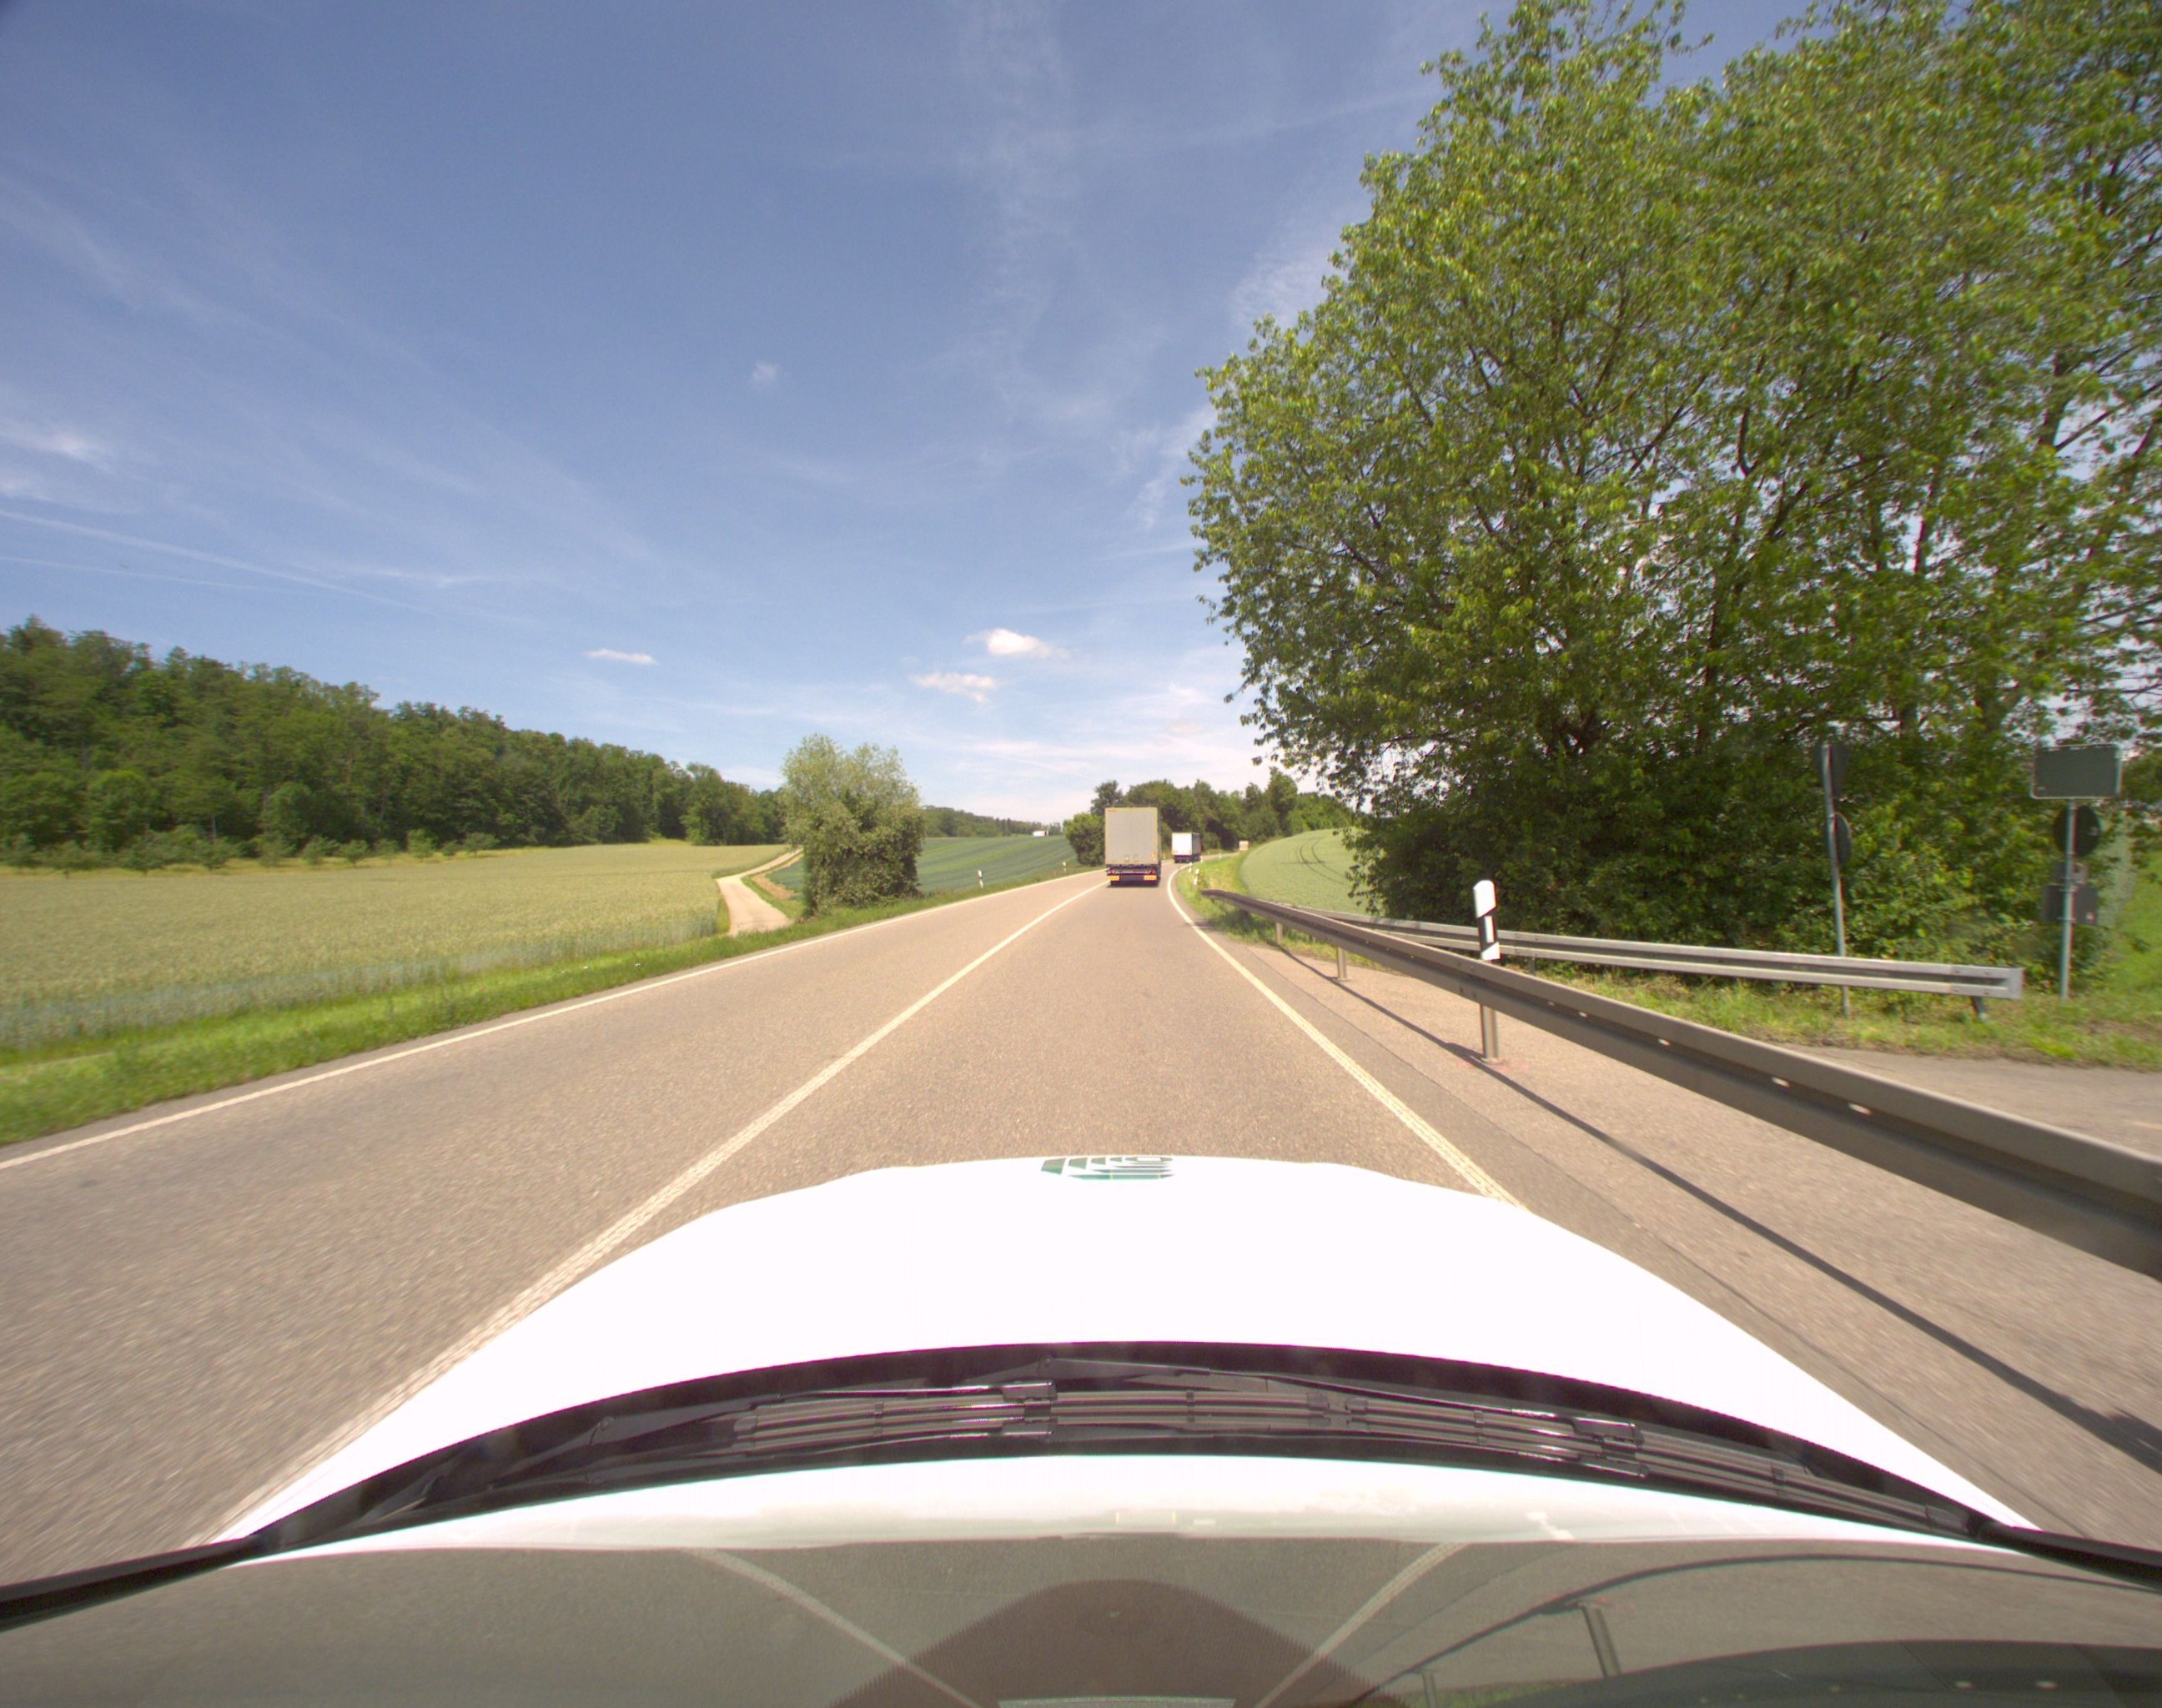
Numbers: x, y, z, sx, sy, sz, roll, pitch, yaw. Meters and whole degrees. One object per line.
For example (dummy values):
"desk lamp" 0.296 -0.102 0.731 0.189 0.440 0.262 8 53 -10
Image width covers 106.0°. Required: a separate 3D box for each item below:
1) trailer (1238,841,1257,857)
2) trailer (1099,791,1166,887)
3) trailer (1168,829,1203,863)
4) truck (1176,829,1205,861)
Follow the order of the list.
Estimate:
"trailer" 40.115 -1.066 196.052 2.799 3.309 11.573 -2 -2 20
"trailer" 2.866 -0.708 45.566 3.105 4.500 13.898 -1 0 3
"trailer" 14.509 -1.196 111.798 3.342 4.316 13.914 -2 1 13
"truck" 15.903 -1.336 117.972 3.341 4.316 6.766 -2 1 13
